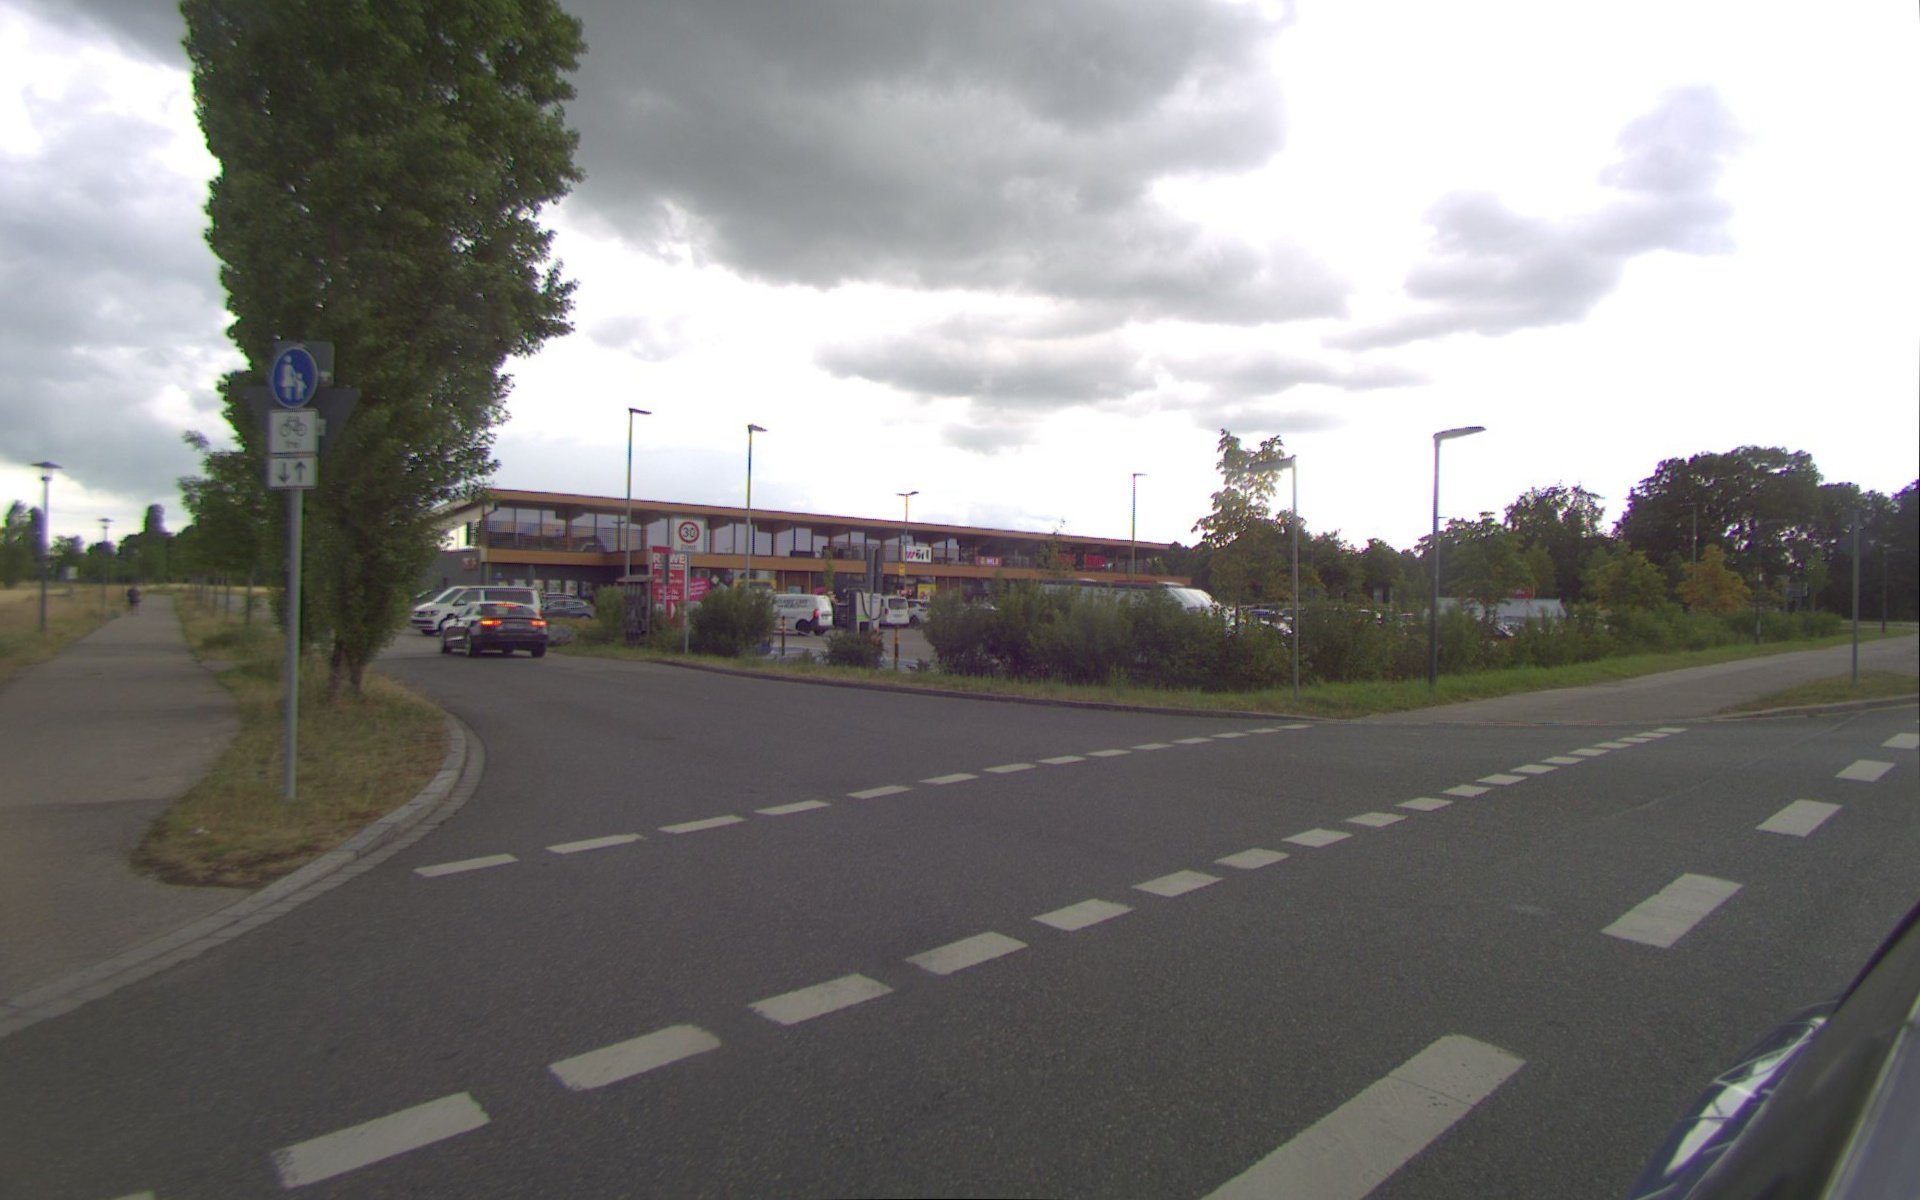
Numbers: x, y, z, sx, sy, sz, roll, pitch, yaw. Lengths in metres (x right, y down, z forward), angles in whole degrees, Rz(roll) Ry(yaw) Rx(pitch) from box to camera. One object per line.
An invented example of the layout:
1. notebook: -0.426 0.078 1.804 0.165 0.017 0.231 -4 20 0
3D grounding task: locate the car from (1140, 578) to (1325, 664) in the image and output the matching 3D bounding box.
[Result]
1. car: 7.457 0.497 28.087 1.966 2.038 4.601 1 2 -42

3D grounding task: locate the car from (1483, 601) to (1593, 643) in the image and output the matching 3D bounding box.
1. car: 24.837 0.925 43.588 1.647 1.557 3.762 1 2 -42

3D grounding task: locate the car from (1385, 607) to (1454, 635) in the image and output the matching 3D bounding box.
1. car: 28.927 1.296 63.725 1.723 1.551 3.555 1 2 -41

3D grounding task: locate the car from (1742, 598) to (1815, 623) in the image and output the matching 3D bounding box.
1. car: 69.669 0.895 86.193 4.750 1.826 1.972 3 2 39

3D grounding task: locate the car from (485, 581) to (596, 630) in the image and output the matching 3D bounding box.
1. car: -18.978 0.242 45.843 4.210 2.038 1.998 1 2 -40

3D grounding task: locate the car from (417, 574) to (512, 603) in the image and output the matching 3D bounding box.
1. car: -26.200 -0.599 53.548 4.124 1.427 1.998 1 2 -40

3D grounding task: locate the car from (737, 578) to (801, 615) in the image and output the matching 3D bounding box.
1. car: -11.463 -0.235 60.660 1.819 2.035 4.224 1 2 -42

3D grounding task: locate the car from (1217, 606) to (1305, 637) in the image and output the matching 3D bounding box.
1. car: 15.546 1.096 52.394 1.965 1.460 3.994 1 0 -41

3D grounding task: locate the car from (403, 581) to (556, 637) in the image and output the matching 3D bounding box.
1. car: -19.160 0.339 40.535 1.995 2.038 5.149 3 2 45

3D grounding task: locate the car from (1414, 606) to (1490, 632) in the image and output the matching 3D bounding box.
1. car: 32.893 1.248 67.747 1.962 1.503 4.132 1 2 -36

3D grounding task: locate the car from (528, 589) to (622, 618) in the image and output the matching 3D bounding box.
1. car: -19.786 0.165 52.092 4.180 1.365 1.837 1 2 -40

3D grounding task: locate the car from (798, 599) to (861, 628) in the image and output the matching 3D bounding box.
1. car: -7.148 0.711 55.164 1.744 1.399 3.467 1 2 -42

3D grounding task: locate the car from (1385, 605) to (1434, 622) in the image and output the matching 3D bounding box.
1. car: 42.127 1.264 94.899 3.916 1.377 1.705 2 2 -13

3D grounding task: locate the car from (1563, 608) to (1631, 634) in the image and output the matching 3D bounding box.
1. car: 46.485 1.530 73.926 4.154 1.738 1.705 2 1 -13

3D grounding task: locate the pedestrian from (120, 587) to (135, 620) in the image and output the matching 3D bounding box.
1. pedestrian: -45.945 0.205 55.851 0.589 1.783 0.483 1 2 -41

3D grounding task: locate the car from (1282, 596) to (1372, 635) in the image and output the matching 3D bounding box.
1. car: 20.275 0.846 56.105 1.962 1.894 4.275 1 2 -36

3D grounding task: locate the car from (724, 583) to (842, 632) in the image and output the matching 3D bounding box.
1. car: -8.089 0.298 46.295 4.880 1.930 2.097 3 2 20

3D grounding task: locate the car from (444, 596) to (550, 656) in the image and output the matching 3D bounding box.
1. car: -11.976 0.725 26.036 1.796 1.407 4.386 1 -4 -34

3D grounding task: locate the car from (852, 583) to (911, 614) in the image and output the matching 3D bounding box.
1. car: -5.081 -0.129 65.133 1.908 1.771 4.001 1 2 -36

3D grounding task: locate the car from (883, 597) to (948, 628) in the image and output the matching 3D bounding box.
1. car: -2.682 0.735 60.395 2.003 1.627 3.746 1 2 -40

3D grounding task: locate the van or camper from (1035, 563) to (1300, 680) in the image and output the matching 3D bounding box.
1. van or camper: 5.077 0.398 25.792 2.243 2.494 6.476 1 2 -42

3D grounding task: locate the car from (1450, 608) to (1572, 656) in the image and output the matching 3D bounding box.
1. car: 21.114 1.181 38.853 1.647 1.557 3.762 1 2 -42

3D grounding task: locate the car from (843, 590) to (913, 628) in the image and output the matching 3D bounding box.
1. car: -4.706 0.509 57.922 2.004 1.935 3.899 1 2 -42
